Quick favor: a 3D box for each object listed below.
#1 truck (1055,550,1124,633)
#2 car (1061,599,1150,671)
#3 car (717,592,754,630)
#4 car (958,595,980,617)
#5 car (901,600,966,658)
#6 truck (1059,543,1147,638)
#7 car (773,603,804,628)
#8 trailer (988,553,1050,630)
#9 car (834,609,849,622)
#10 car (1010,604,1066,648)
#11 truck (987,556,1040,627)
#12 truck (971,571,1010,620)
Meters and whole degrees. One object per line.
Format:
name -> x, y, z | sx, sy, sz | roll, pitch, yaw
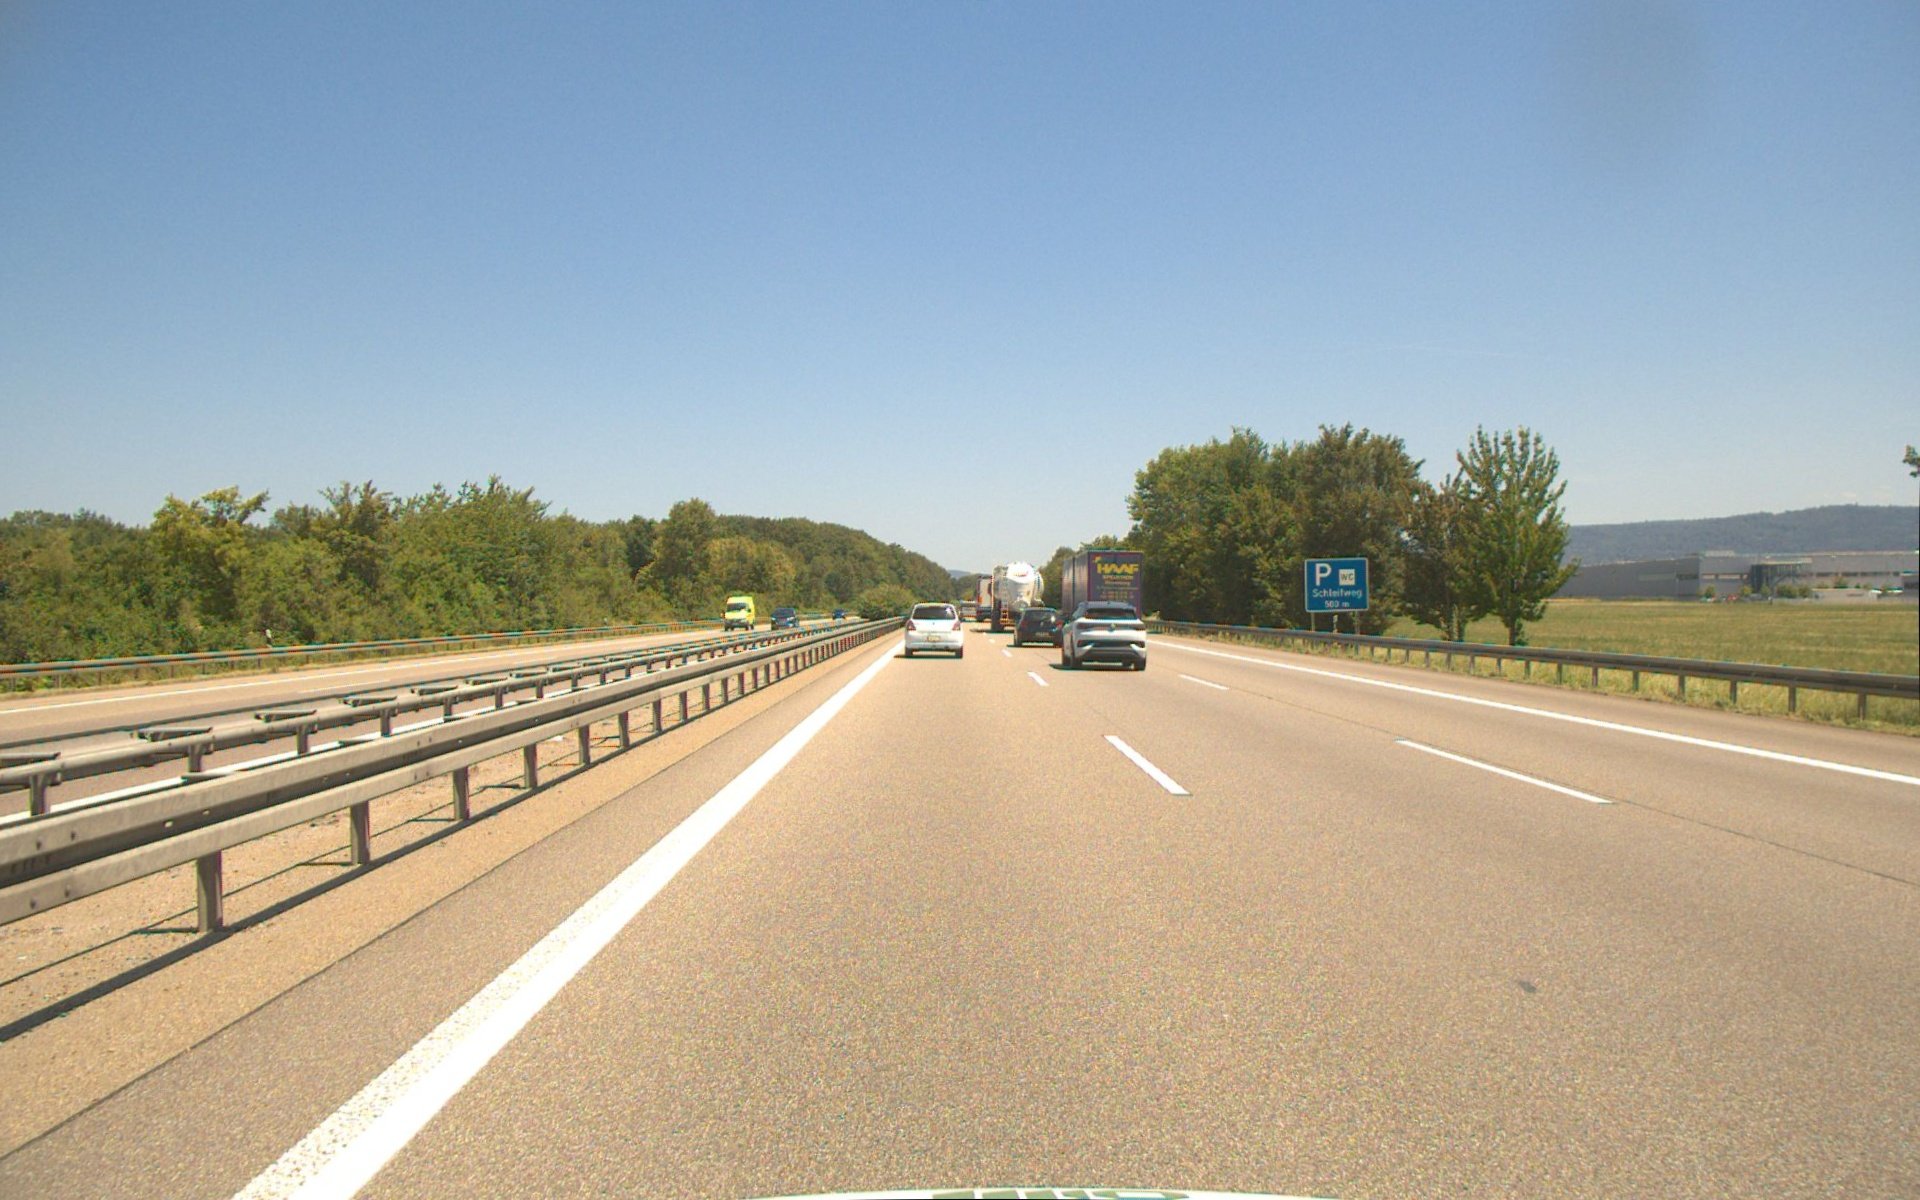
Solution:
truck -> 6.941, -0.436, 89.620 | 3.045, 4.211, 8.056 | 1, 0, 0
car -> 3.542, 0.818, 40.940 | 1.765, 1.631, 4.380 | 1, 0, -1
car -> -17.889, 0.870, 132.060 | 2.121, 2.828, 5.799 | -2, 0, -1
car -> 1.049, 0.679, 189.401 | 2.424, 2.395, 5.181 | 1, 0, 0
car -> -0.767, 0.808, 47.533 | 1.763, 1.579, 3.609 | 1, 0, -1
truck -> 6.901, -0.436, 82.217 | 3.045, 4.211, 15.511 | 1, 0, 0
car -> -12.701, 1.127, 122.980 | 1.830, 1.719, 4.625 | -2, 0, -1
trailer -> 3.305, -0.464, 95.730 | 2.852, 4.140, 12.415 | 1, 0, -1
car -> -16.746, 2.140, 234.065 | 1.885, 1.747, 4.287 | -1, 0, 0
car -> 2.861, 0.933, 61.081 | 1.812, 1.549, 3.956 | 1, 0, -1
truck -> 3.223, -0.480, 101.413 | 2.853, 4.150, 7.193 | 1, 0, -1
truck -> 2.750, -0.399, 151.727 | 3.325, 4.287, 12.083 | 1, 0, 0
